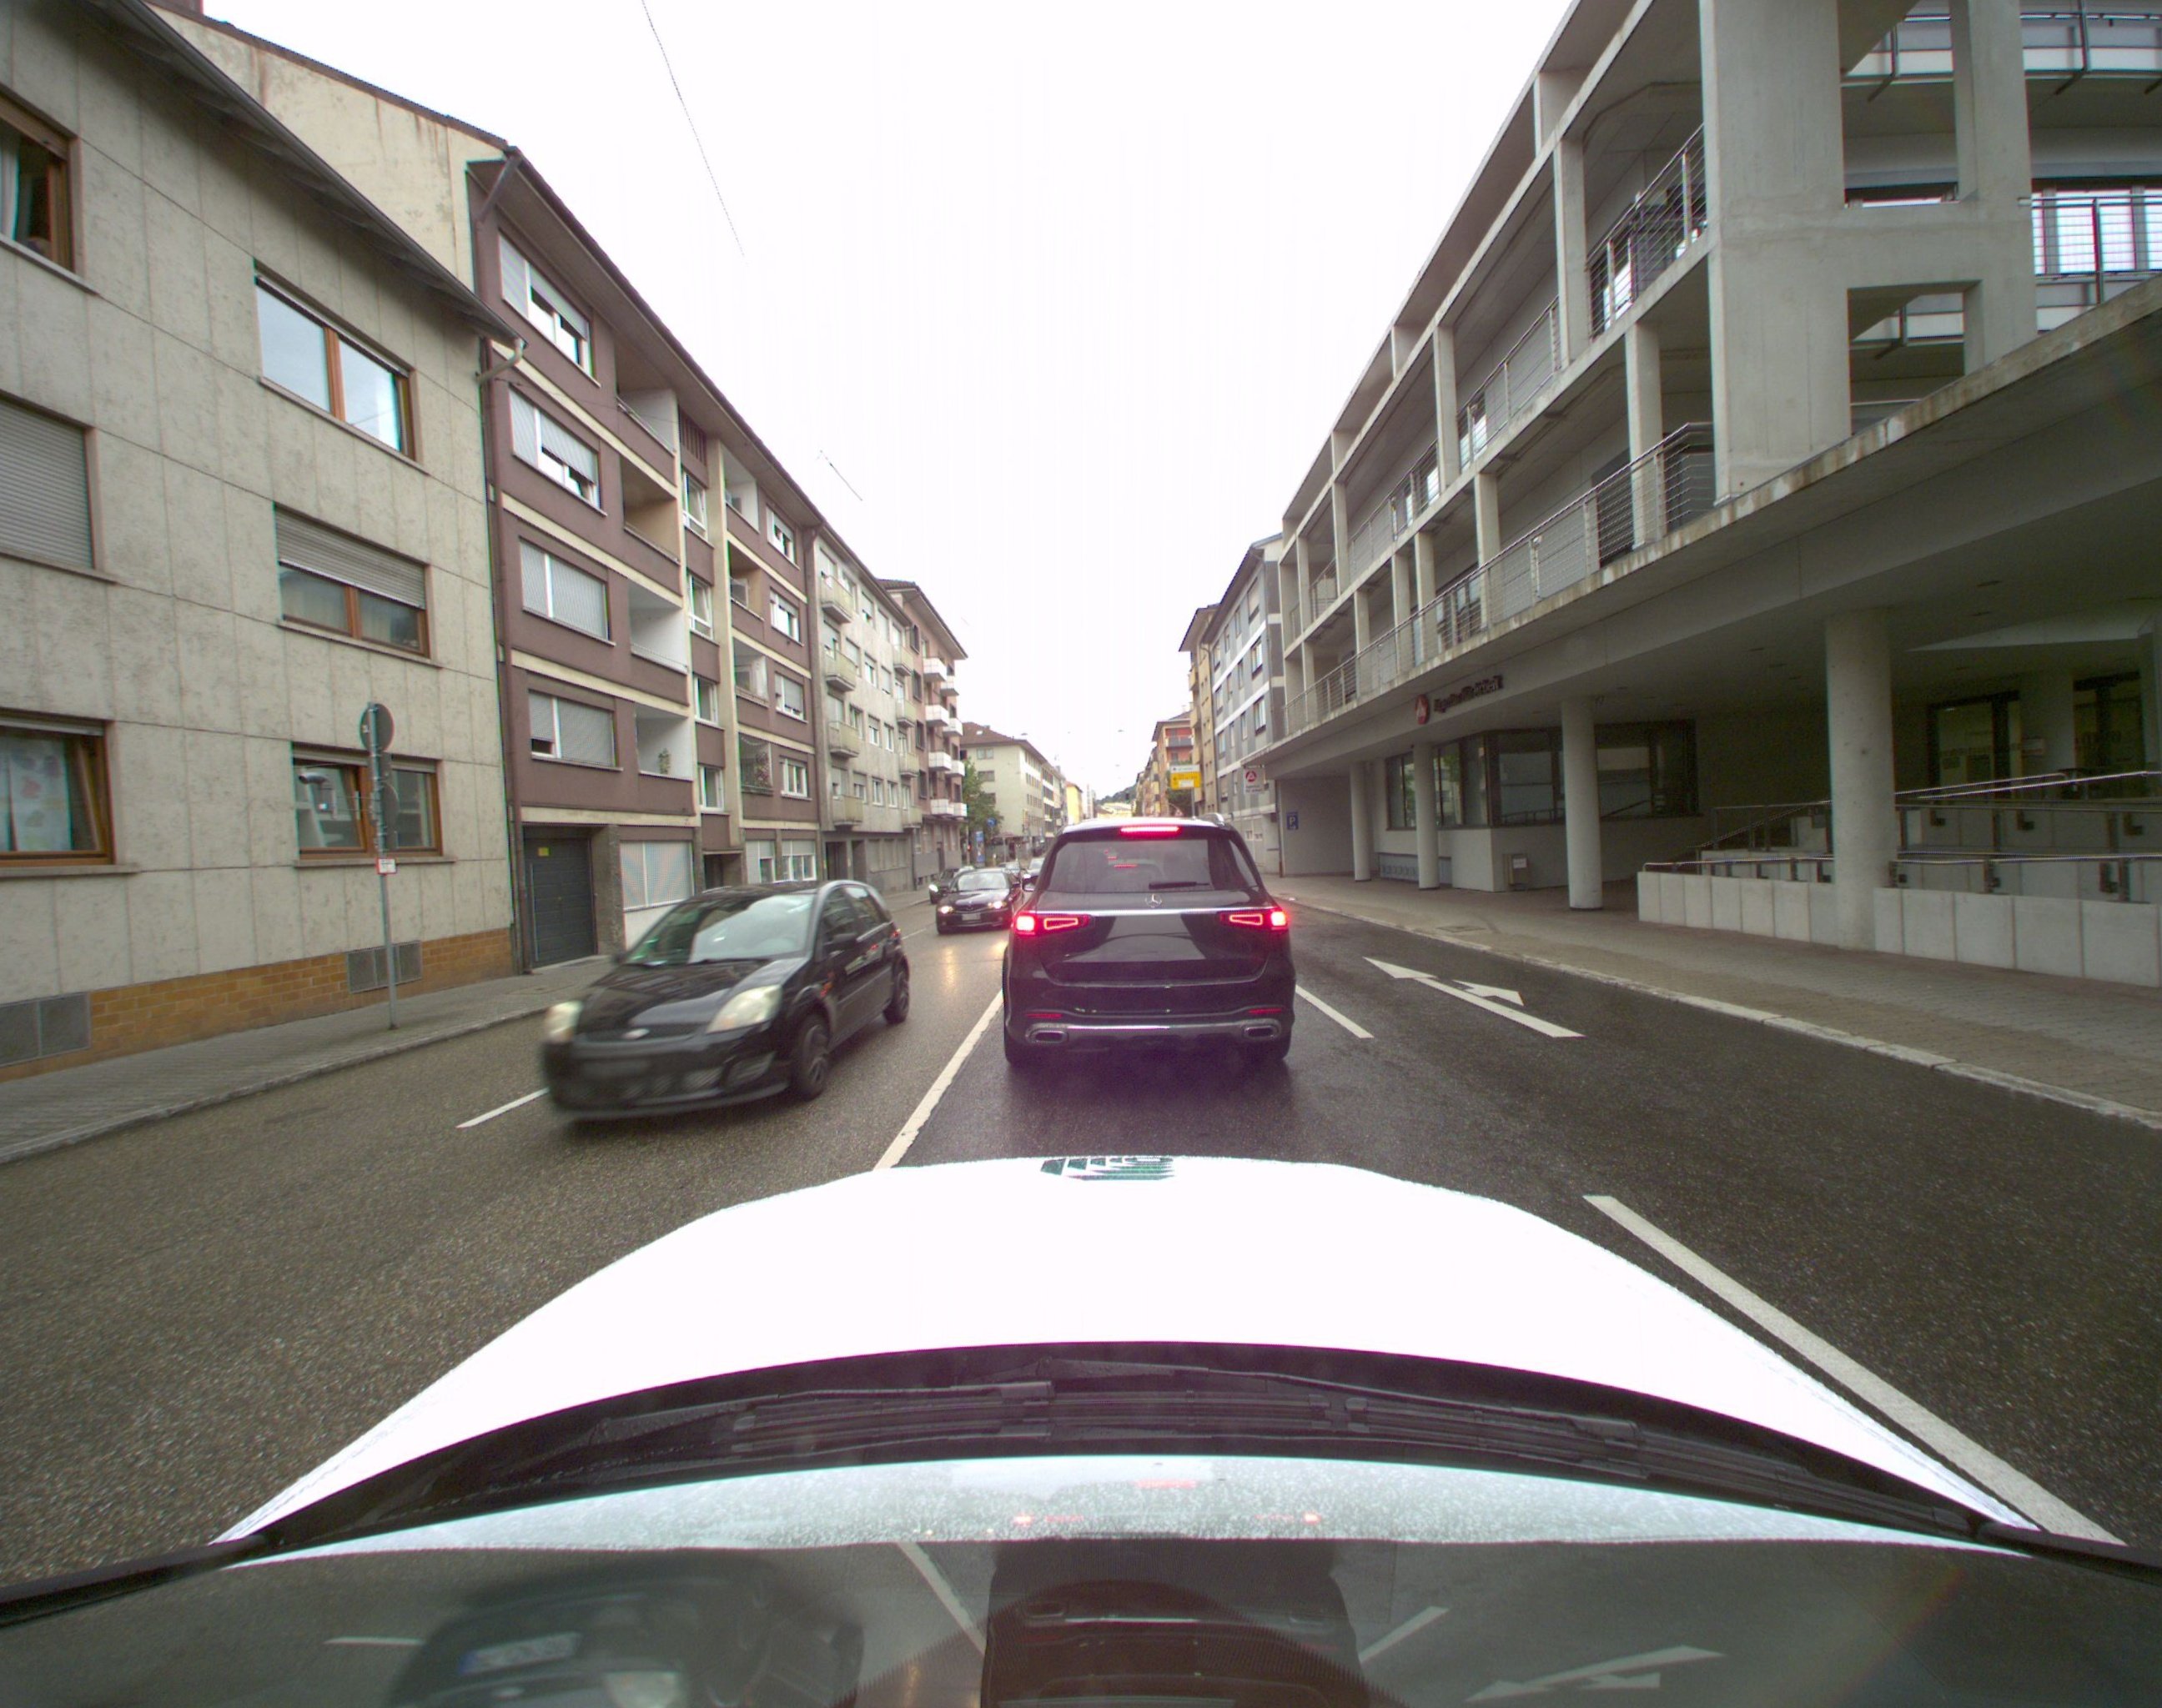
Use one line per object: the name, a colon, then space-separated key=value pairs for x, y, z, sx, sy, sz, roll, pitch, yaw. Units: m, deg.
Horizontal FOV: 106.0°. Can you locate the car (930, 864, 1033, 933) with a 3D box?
car: x=-2.285 y=0.988 z=19.738 sx=1.688 sy=1.370 sz=4.220 roll=-5 pitch=-1 yaw=2

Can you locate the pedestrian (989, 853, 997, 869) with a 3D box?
pedestrian: x=-9.941 y=0.788 z=92.278 sx=0.631 sy=1.764 sz=0.776 roll=-3 pitch=0 yaw=11

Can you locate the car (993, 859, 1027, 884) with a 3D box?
car: x=-4.425 y=1.081 z=51.282 sx=1.593 sy=1.370 sz=4.362 roll=-6 pitch=0 yaw=1

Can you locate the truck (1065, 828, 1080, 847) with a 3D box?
truck: x=-1.612 y=-3.153 z=157.372 sx=2.472 sy=3.046 sz=9.917 roll=-4 pitch=-1 yaw=0

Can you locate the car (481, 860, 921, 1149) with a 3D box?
car: x=-2.603 y=0.886 z=6.812 sx=1.613 sy=1.539 sz=4.216 roll=-4 pitch=-1 yaw=0

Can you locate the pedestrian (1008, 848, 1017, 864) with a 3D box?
pedestrian: x=-8.619 y=0.260 z=102.297 sx=0.920 sy=1.902 sz=0.706 roll=-3 pitch=0 yaw=0

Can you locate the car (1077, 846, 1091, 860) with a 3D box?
car: x=0.373 y=-0.124 z=101.432 sx=1.613 sy=1.539 sz=4.216 roll=-4 pitch=-1 yaw=0

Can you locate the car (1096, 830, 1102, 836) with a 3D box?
car: x=5.532 y=-6.342 z=250.457 sx=1.613 sy=1.539 sz=4.216 roll=-4 pitch=-1 yaw=0

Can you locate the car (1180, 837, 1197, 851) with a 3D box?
car: x=12.468 y=-1.151 z=94.540 sx=1.664 sy=1.588 sz=3.334 roll=-3 pitch=0 yaw=4

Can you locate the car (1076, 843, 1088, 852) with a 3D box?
car: x=0.169 y=-0.994 z=131.312 sx=1.879 sy=1.264 sz=4.216 roll=-5 pitch=-1 yaw=0

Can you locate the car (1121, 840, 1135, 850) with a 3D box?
car: x=6.876 y=-1.303 z=119.886 sx=1.613 sy=1.387 sz=4.216 roll=-4 pitch=-1 yaw=0

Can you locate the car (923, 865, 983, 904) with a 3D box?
car: x=-5.330 y=1.232 z=34.448 sx=1.689 sy=1.370 sz=4.366 roll=-5 pitch=-1 yaw=0

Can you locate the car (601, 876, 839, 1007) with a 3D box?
car: x=-5.469 y=1.220 z=13.056 sx=1.717 sy=1.473 sz=4.374 roll=-5 pitch=0 yaw=0

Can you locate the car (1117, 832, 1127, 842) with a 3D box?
car: x=7.837 y=-3.264 z=157.609 sx=1.613 sy=1.539 sz=4.216 roll=-4 pitch=-1 yaw=0

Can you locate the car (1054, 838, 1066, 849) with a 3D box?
car: x=-3.399 y=-1.692 z=131.948 sx=1.613 sy=1.539 sz=4.216 roll=-4 pitch=-1 yaw=0

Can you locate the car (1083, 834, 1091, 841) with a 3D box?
car: x=1.439 y=-3.926 z=193.972 sx=1.613 sy=1.539 sz=4.216 roll=-4 pitch=-1 yaw=0

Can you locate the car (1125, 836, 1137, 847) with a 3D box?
car: x=8.141 y=-1.997 z=132.090 sx=1.613 sy=1.539 sz=4.216 roll=-4 pitch=-1 yaw=0

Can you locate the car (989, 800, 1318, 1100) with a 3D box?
car: x=0.506 y=0.601 z=7.138 sx=1.977 sy=1.805 sz=4.391 roll=0 pitch=-1 yaw=2

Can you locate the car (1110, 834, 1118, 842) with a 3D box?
car: x=7.127 y=-3.510 z=176.324 sx=1.613 sy=1.539 sz=4.216 roll=-4 pitch=-1 yaw=0

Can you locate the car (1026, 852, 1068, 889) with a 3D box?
car: x=-1.618 y=0.791 z=39.862 sx=1.689 sy=1.580 sz=4.217 roll=-5 pitch=-1 yaw=1

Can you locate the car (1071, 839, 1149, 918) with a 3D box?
car: x=0.662 y=0.588 z=20.959 sx=1.746 sy=1.731 sz=4.216 roll=-3 pitch=-1 yaw=0
